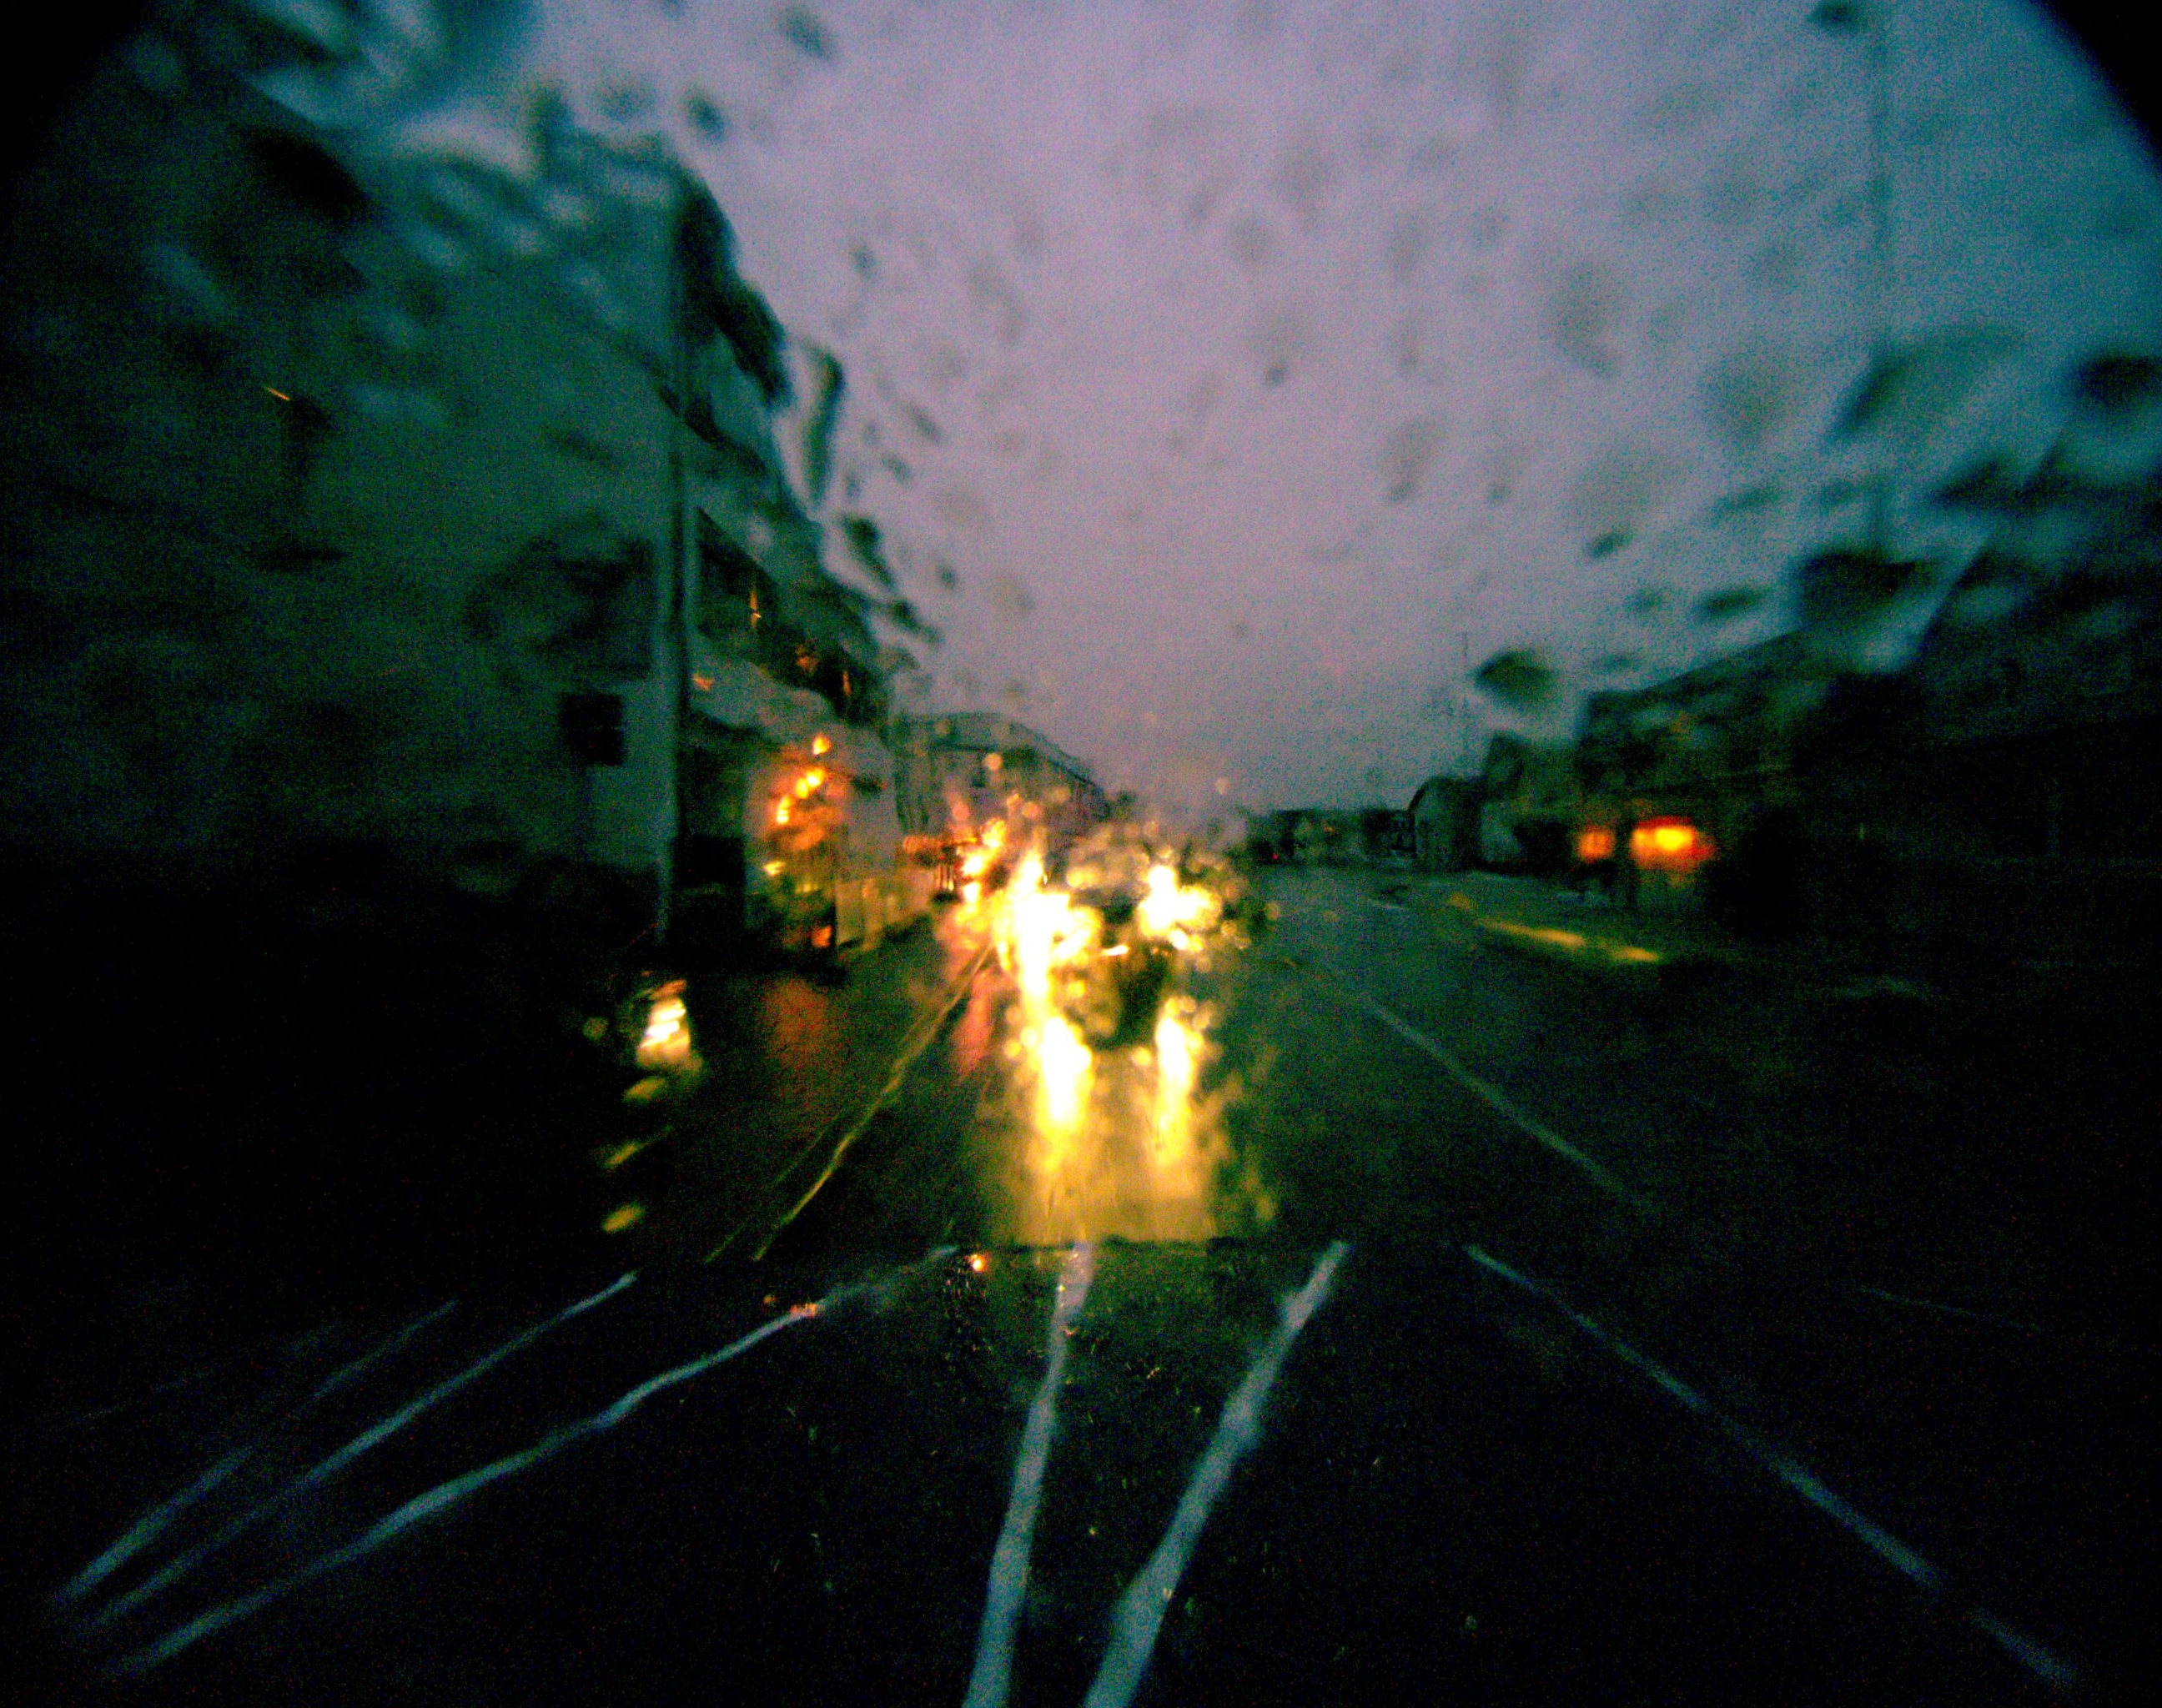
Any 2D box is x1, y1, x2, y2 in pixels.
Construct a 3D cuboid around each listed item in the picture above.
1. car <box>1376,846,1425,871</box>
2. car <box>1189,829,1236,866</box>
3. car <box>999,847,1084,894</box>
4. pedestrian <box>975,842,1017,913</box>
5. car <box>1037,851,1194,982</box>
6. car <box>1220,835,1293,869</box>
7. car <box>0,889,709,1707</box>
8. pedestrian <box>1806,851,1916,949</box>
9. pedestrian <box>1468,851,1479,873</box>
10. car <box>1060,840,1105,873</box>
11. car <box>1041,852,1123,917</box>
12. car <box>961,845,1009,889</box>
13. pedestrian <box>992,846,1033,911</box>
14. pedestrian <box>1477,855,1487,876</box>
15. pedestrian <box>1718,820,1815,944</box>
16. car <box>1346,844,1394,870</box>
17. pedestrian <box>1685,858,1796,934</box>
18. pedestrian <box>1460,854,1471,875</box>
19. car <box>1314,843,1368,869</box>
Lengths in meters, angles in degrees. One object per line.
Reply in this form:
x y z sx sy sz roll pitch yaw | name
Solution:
27.004 0.371 64.389 1.936 1.871 3.866 -3 3 -13 | car
7.879 -0.442 45.206 2.055 1.976 4.541 -1 3 18 | car
-1.601 0.559 28.917 2.030 1.471 4.549 -3 3 -19 | car
-2.305 0.626 20.633 0.789 1.856 0.711 1 4 44 | pedestrian
0.388 0.782 11.690 1.958 1.576 4.108 -1 1 -1 | car
11.491 -0.164 50.036 2.003 2.003 4.452 -4 3 -36 | car
-2.682 0.914 1.412 1.732 1.456 4.199 2 0 3 | car
10.512 0.599 10.268 0.687 1.264 0.750 -2 0 5 | pedestrian
29.255 0.609 56.613 0.582 1.602 0.500 -2 3 5 | pedestrian
0.067 0.103 39.800 2.172 1.469 3.998 -2 2 0 | car
-0.068 0.755 21.122 1.764 1.471 4.016 -2 2 -7 | car
-4.479 0.545 35.138 1.827 1.736 3.994 -3 3 -12 | car
-1.923 0.671 21.339 0.789 1.752 0.769 1 4 44 | pedestrian
31.506 0.916 59.687 0.582 1.602 0.500 -2 3 5 | pedestrian
9.977 0.399 11.084 0.749 1.732 0.687 -2 0 1 | pedestrian
24.325 0.208 64.105 1.926 2.003 3.966 -3 3 -13 | car
10.556 0.663 12.203 0.990 1.151 0.903 -2 -1 10 | pedestrian
30.004 0.809 59.254 0.582 1.602 0.500 -2 3 5 | pedestrian
21.704 0.108 63.523 1.974 1.984 3.990 -3 3 -26 | car
